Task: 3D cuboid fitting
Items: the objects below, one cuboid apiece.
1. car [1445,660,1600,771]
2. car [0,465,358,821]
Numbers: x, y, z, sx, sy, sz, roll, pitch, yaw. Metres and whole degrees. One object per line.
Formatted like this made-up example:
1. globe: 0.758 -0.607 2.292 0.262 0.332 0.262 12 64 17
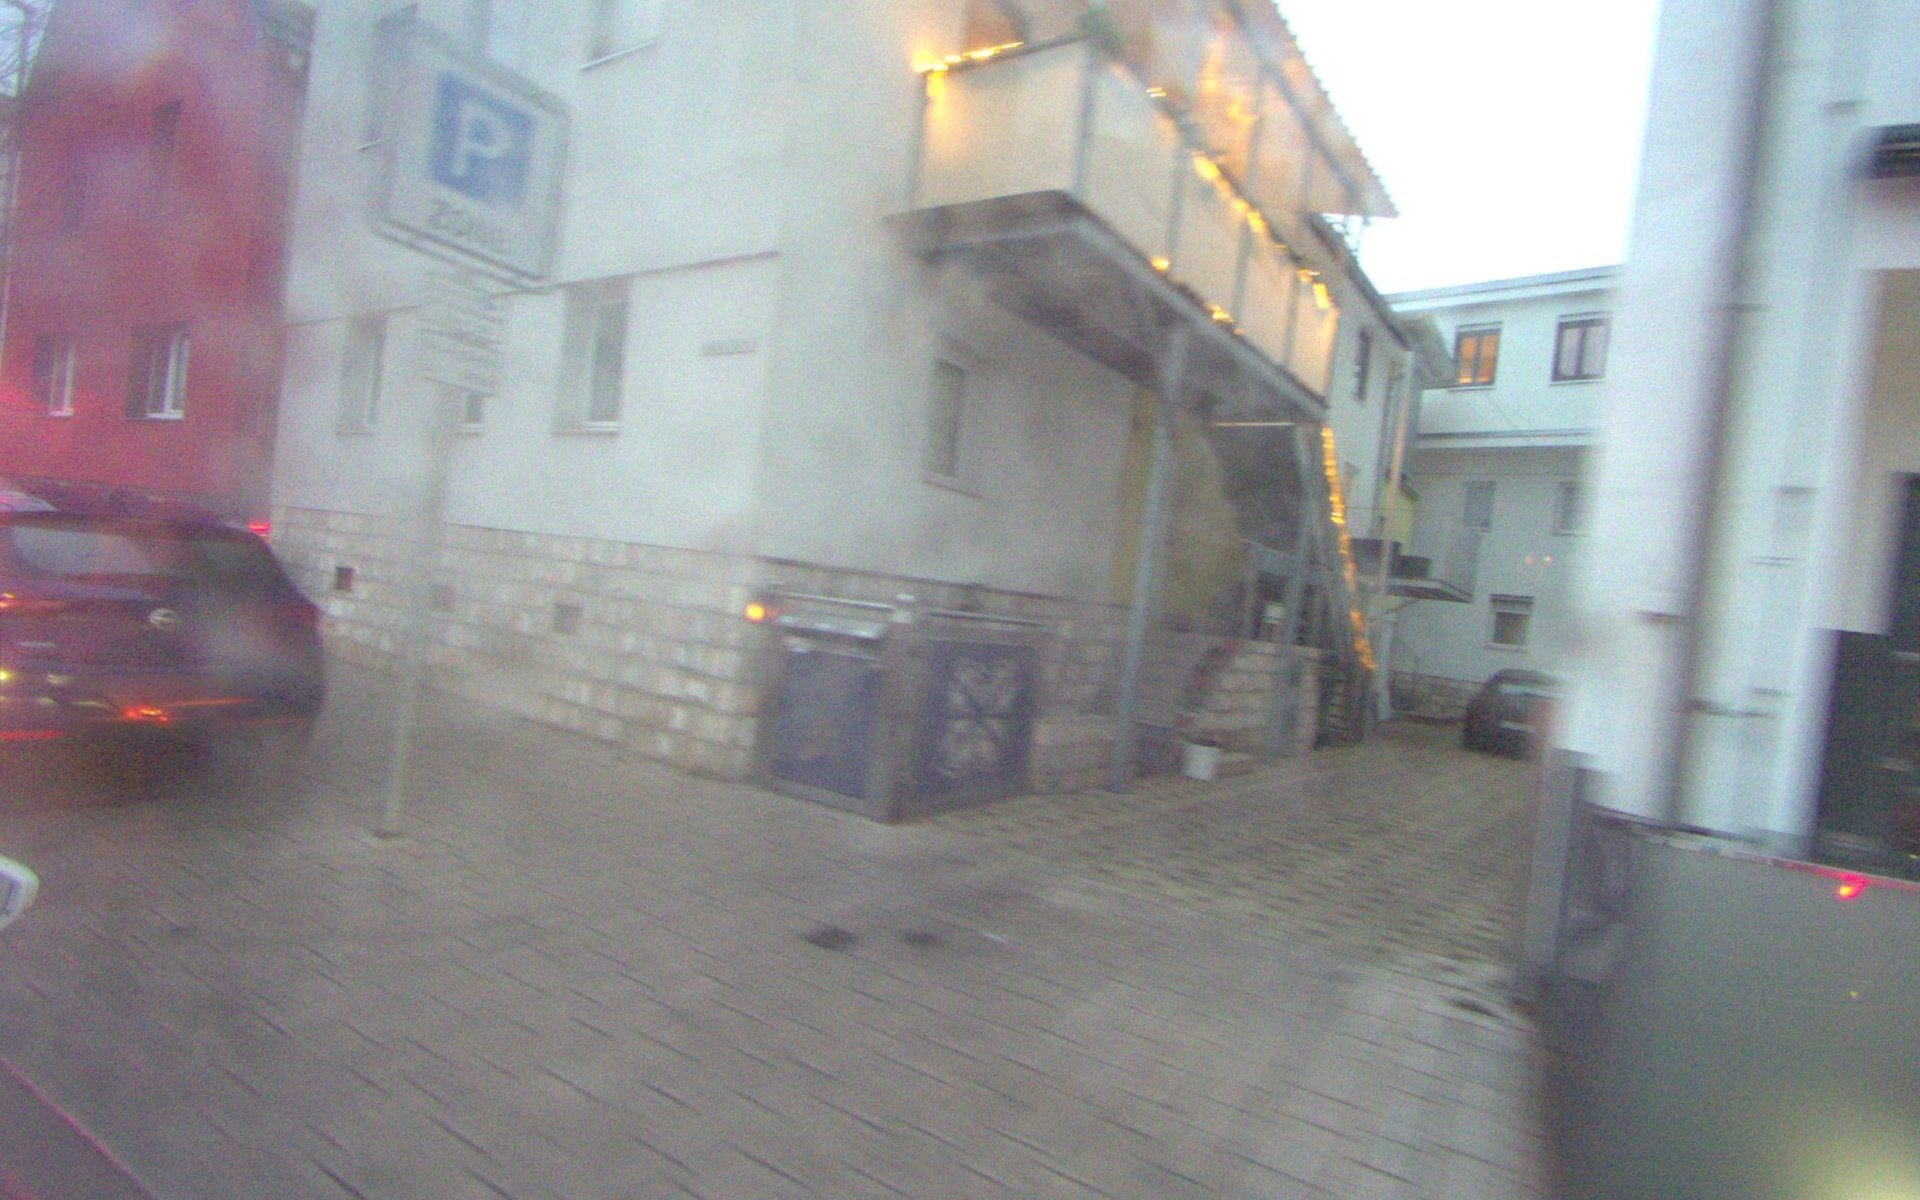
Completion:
1. car: 10.118 1.935 17.938 1.906 1.434 3.949 10 3 34
2. car: -5.452 -0.009 5.856 4.131 1.484 1.727 8 3 34
